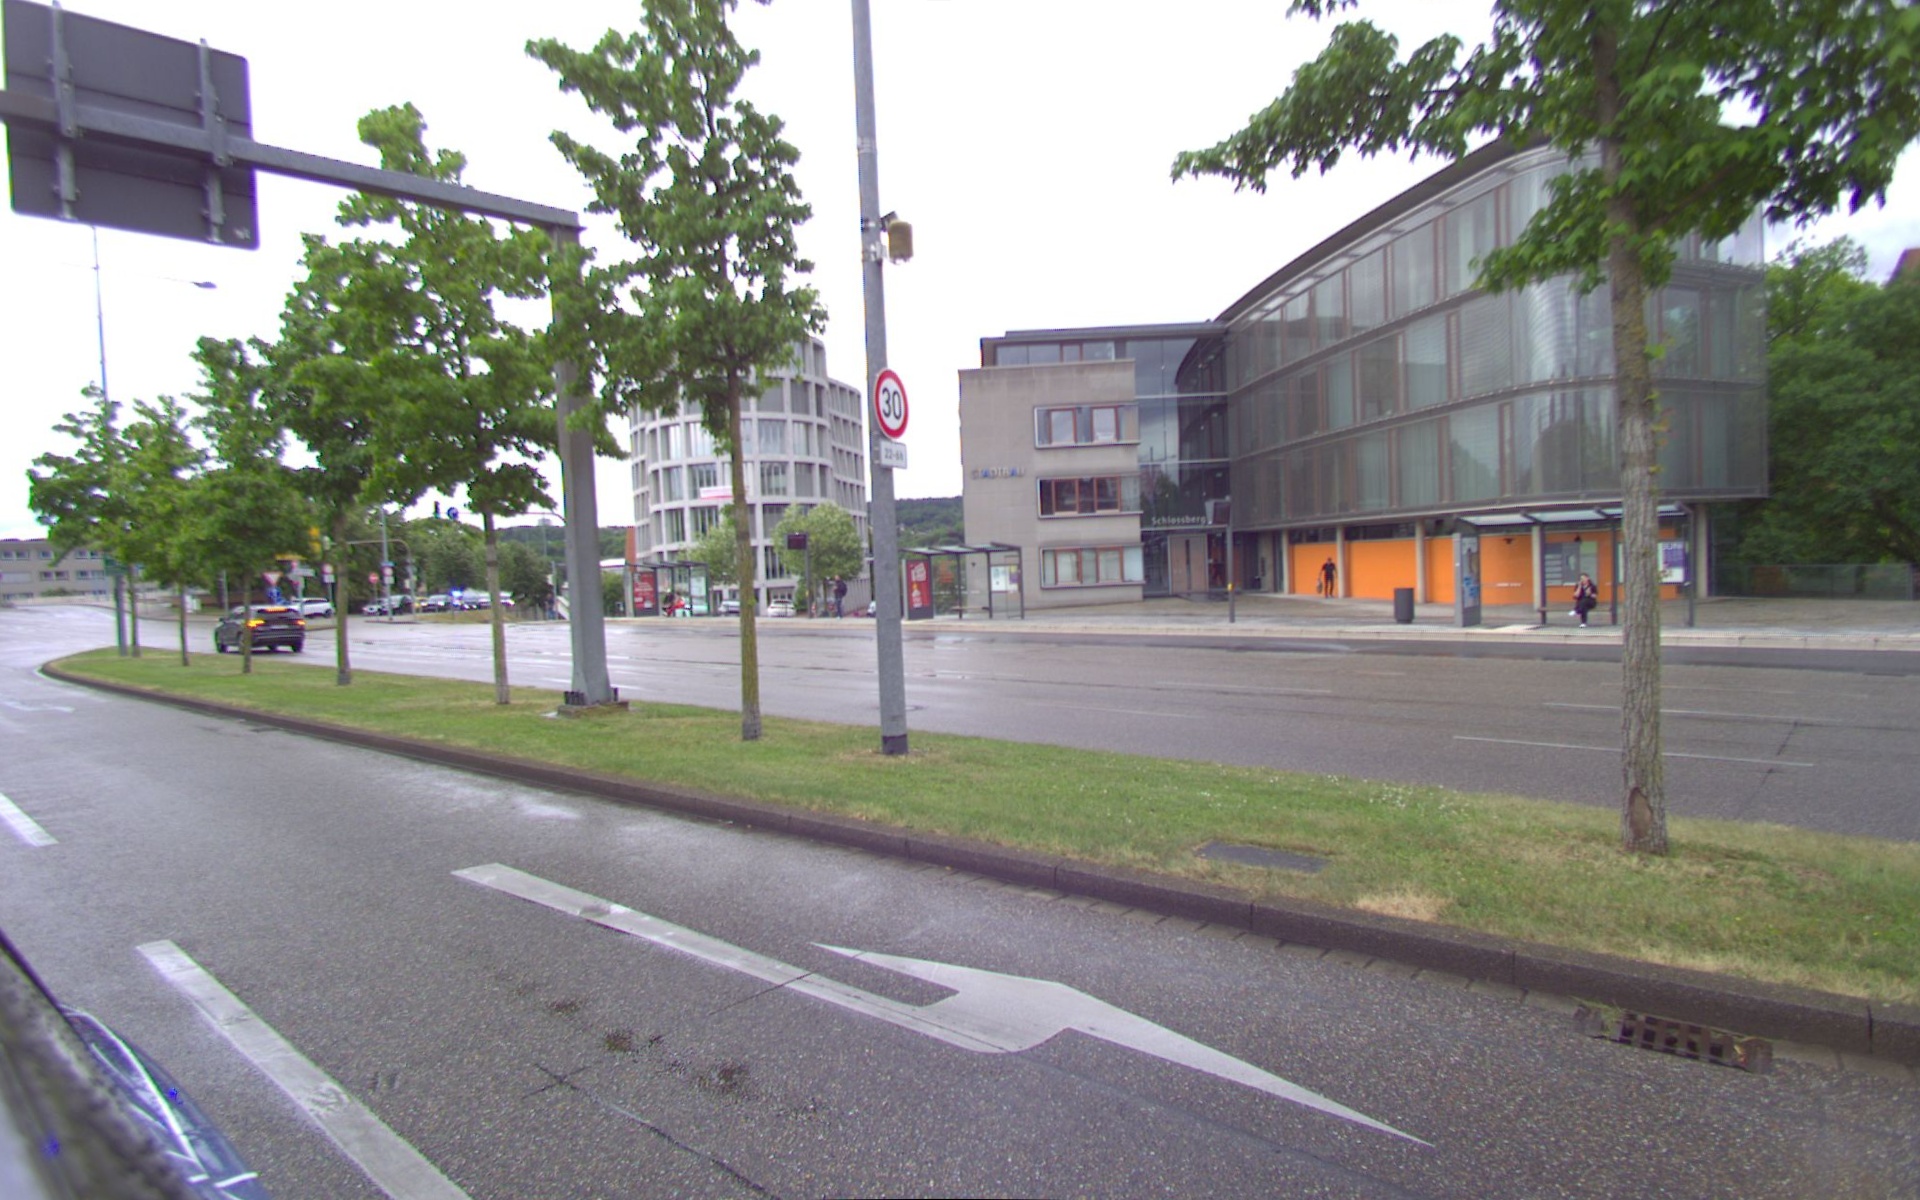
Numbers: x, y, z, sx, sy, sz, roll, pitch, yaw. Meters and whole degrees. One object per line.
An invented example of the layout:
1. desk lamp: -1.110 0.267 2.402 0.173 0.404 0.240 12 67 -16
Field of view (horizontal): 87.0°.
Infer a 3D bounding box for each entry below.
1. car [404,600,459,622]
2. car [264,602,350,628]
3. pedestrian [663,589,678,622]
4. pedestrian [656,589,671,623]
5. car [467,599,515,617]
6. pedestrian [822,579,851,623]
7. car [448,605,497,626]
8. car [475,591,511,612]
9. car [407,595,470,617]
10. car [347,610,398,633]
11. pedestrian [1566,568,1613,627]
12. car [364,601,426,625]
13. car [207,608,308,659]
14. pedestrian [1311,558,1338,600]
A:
1. car: -43.427 0.873 83.311 2.164 1.725 4.919 -1 0 -3
2. car: -47.049 1.041 73.004 2.180 1.725 4.883 -1 0 20
3. pedestrian: -14.558 0.292 50.903 0.535 1.647 0.514 -1 0 41
4. pedestrian: -14.728 0.298 50.335 0.501 1.647 0.497 -1 0 41
5. car: -48.951 0.817 105.597 4.897 1.725 2.174 -1 0 30
6. pedestrian: -5.084 0.034 41.710 0.964 1.773 0.783 -1 0 12
7. car: -43.031 1.324 89.459 2.164 1.725 4.920 -1 0 -3
8. car: -45.900 0.135 99.486 1.969 2.029 4.005 -1 0 -6
9. car: -51.776 0.588 100.545 4.963 2.029 2.311 -1 0 0
10. car: -47.801 1.717 82.371 1.971 1.807 4.002 -1 0 -3
11. pedestrian: 14.608 -0.051 23.480 0.790 1.334 0.793 -1 0 42
12. car: -43.248 0.962 77.549 2.164 1.725 4.919 -1 0 -3
13. car: -24.880 1.144 35.788 4.597 1.652 1.803 -1 1 41
14. pedestrian: 14.987 -0.856 41.615 0.697 1.666 0.852 -1 0 -6
